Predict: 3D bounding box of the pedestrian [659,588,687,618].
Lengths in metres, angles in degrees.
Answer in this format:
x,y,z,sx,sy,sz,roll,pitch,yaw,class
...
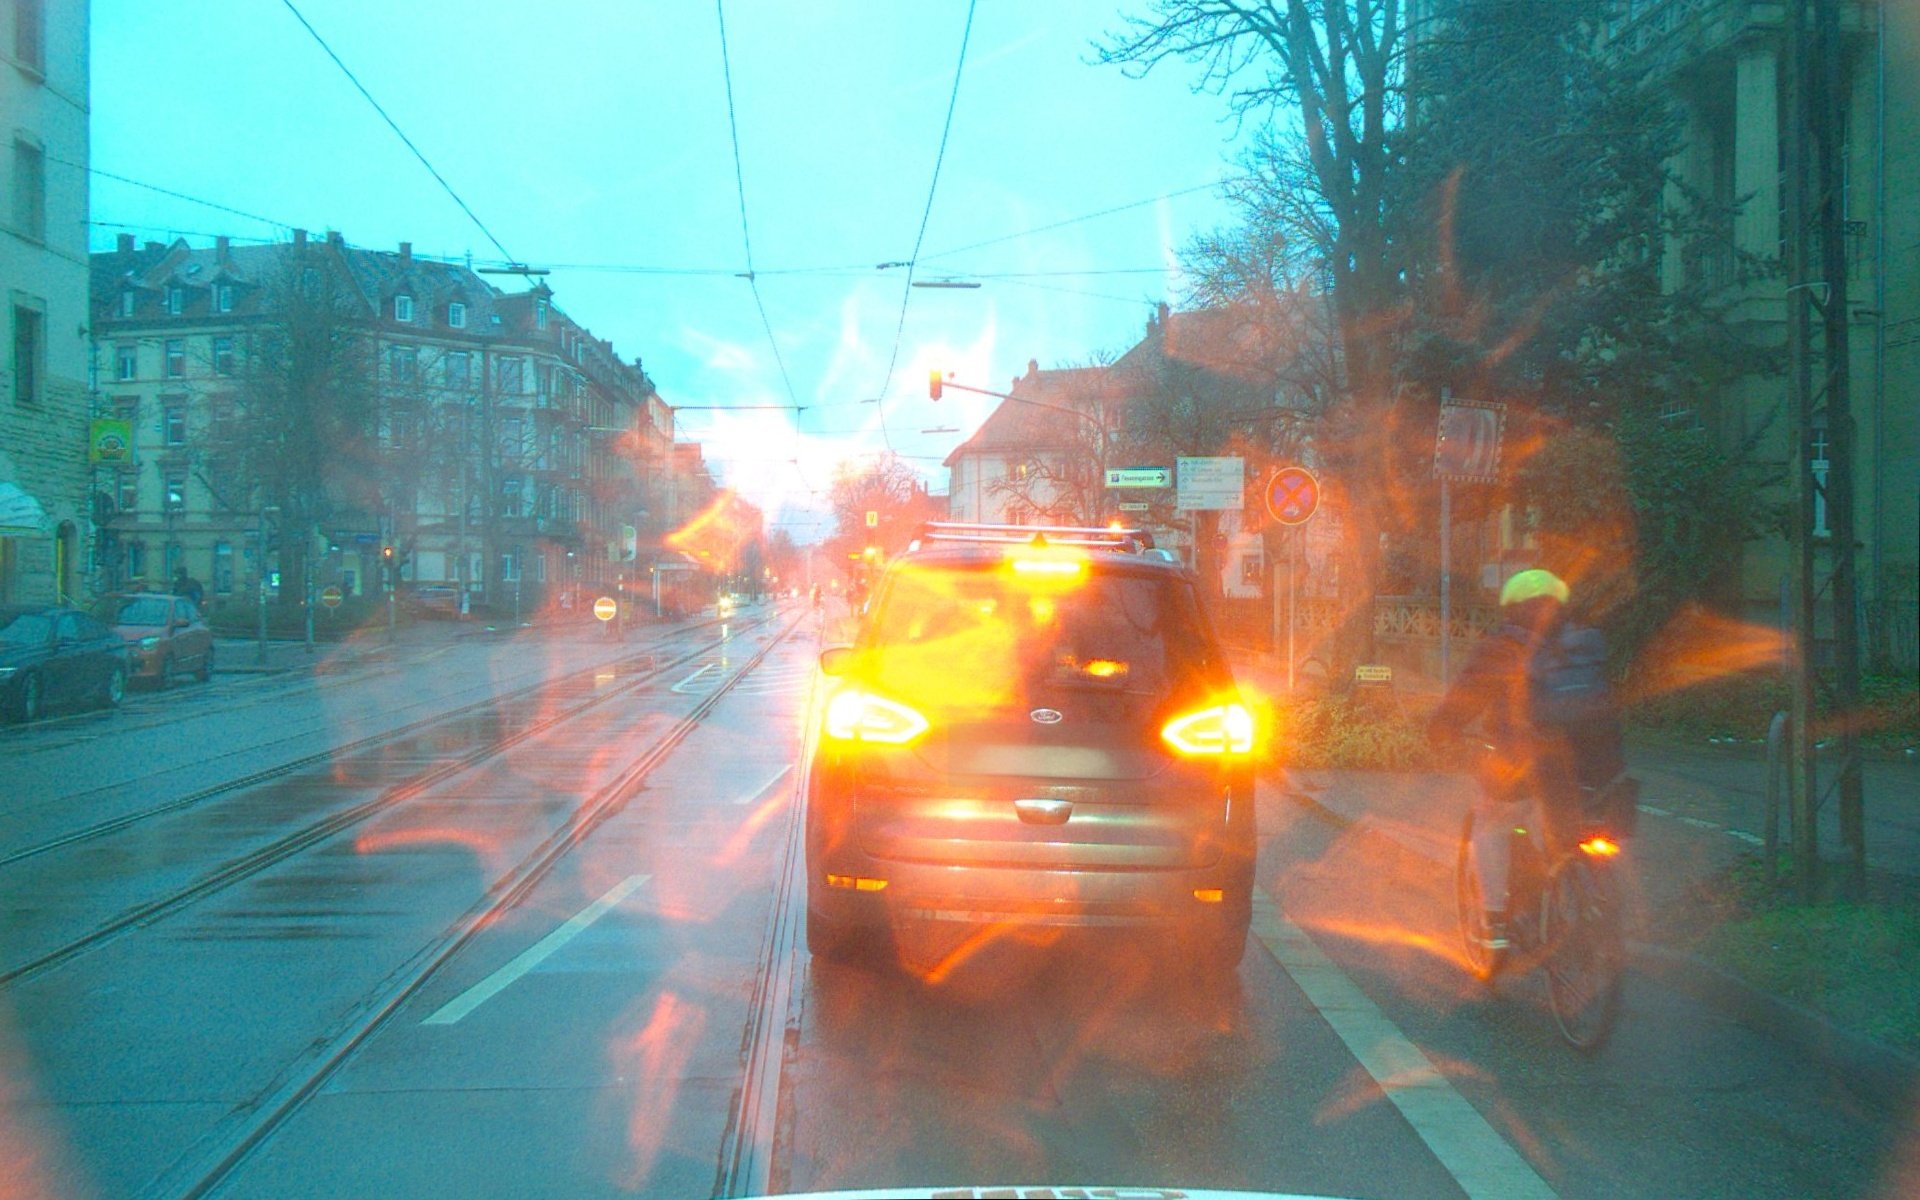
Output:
x,y,z,sx,sy,sz,roll,pitch,yaw,class
-11.907,0.141,68.698,1.026,1.221,0.884,1,0,-3,pedestrian

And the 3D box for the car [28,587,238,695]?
x,y,z,sx,sy,sz,roll,pitch,yaw,class
-14.093,0.646,28.456,2.000,1.578,4.023,4,0,-9,car

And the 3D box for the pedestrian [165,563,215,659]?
x,y,z,sx,sy,sz,roll,pitch,yaw,class
-16.587,0.237,35.625,0.742,2.049,0.646,0,-1,32,pedestrian

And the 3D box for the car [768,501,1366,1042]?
x,y,z,sx,sy,sz,roll,pitch,yaw,class
0.305,0.596,8.150,2.061,1.848,4.659,2,0,-2,car

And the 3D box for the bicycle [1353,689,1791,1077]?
x,y,z,sx,sy,sz,roll,pitch,yaw,class
2.267,0.999,6.453,0.703,1.131,1.938,4,0,-8,bicycle

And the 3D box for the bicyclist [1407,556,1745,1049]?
x,y,z,sx,sy,sz,roll,pitch,yaw,class
2.303,0.710,6.310,0.703,1.691,1.054,4,0,-8,bicyclist

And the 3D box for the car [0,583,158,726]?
x,y,z,sx,sy,sz,roll,pitch,yaw,class
-13.004,0.662,22.811,1.948,1.674,4.624,5,-1,-7,car

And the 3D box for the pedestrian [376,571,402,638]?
x,y,z,sx,sy,sz,roll,pitch,yaw,class
-17.460,0.139,50.590,0.695,2.049,0.656,0,0,-24,pedestrian
